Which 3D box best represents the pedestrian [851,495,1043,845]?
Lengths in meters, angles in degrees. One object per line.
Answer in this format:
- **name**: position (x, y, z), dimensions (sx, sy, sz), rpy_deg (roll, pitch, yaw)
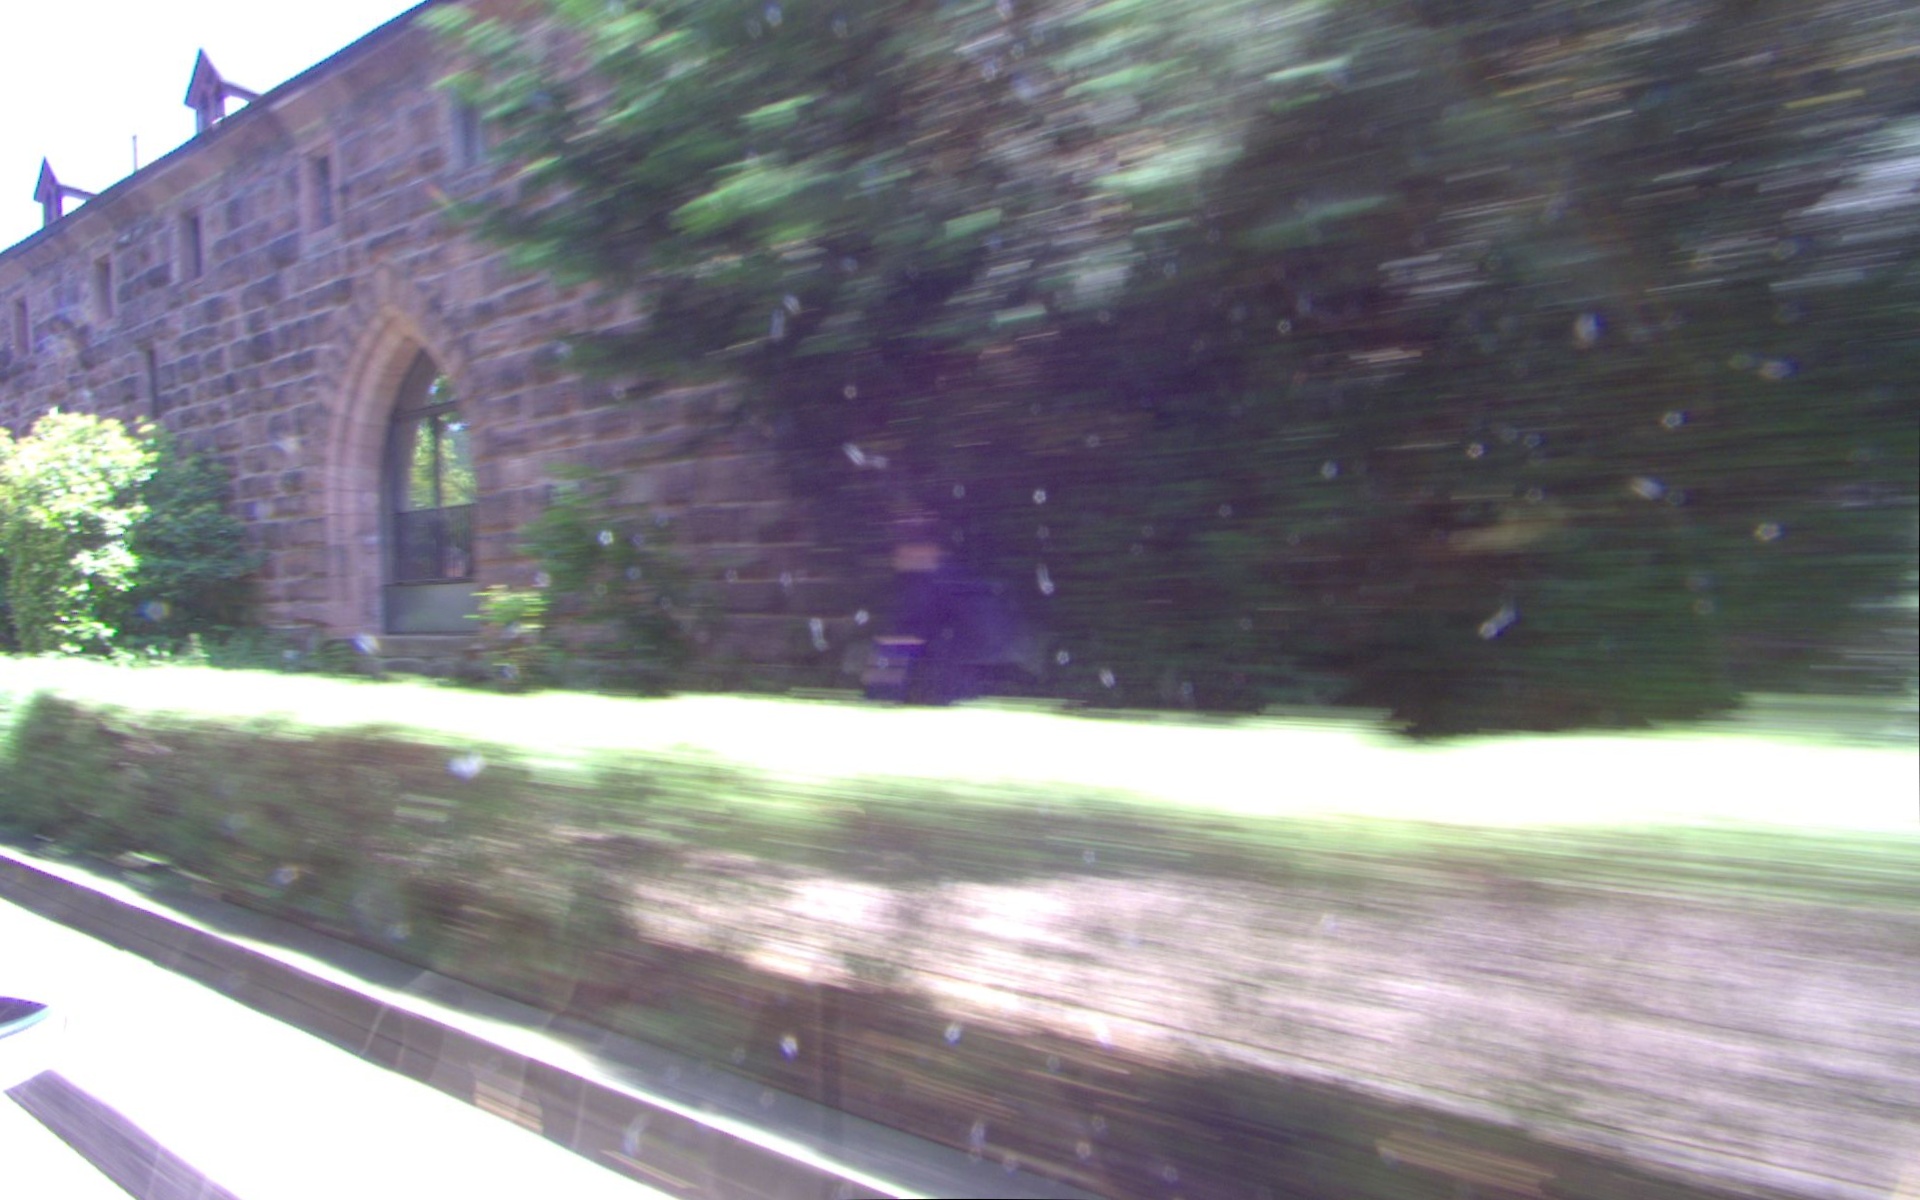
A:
- **pedestrian**: position (-0.057, 0.330, 5.269), dimensions (0.695, 1.675, 0.696), rpy_deg (0, 3, 35)
